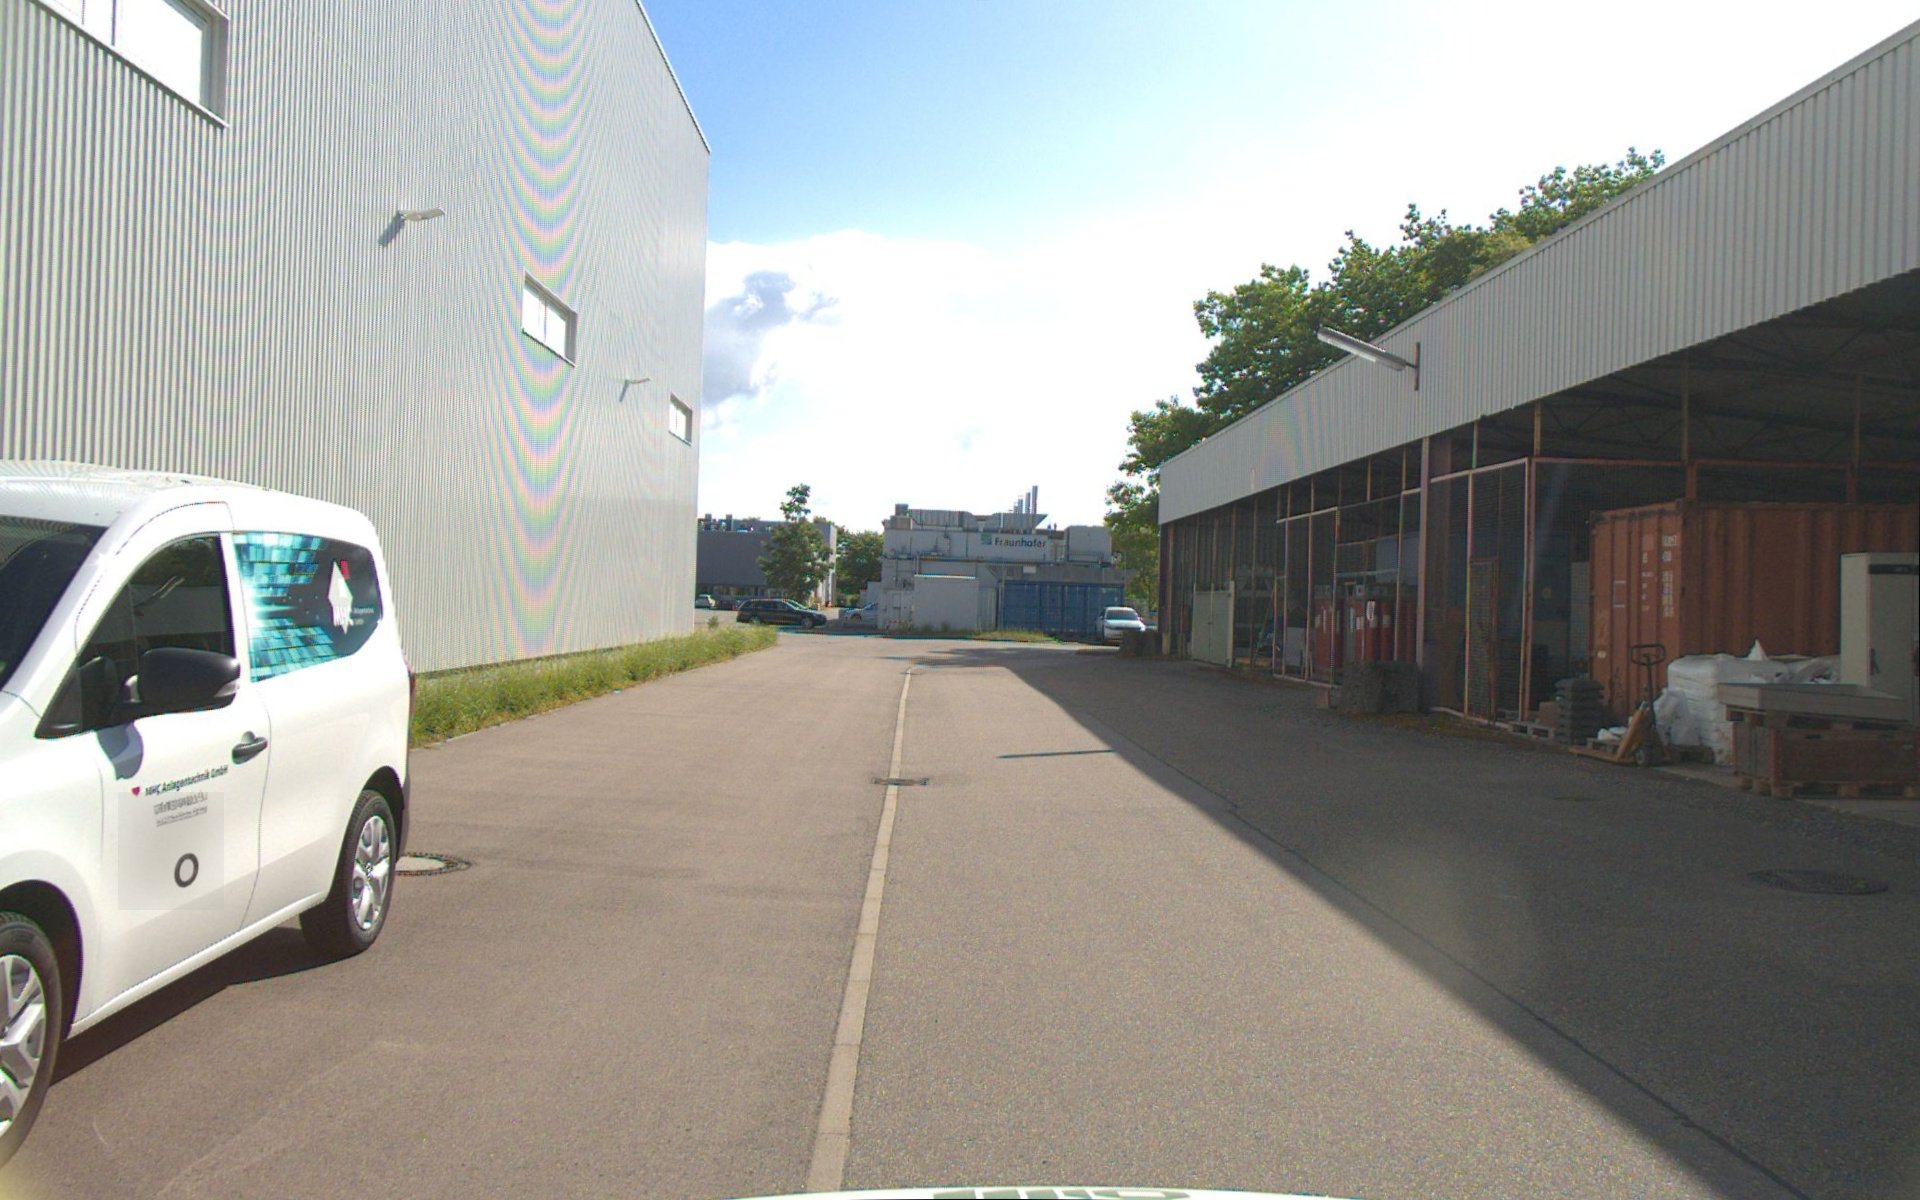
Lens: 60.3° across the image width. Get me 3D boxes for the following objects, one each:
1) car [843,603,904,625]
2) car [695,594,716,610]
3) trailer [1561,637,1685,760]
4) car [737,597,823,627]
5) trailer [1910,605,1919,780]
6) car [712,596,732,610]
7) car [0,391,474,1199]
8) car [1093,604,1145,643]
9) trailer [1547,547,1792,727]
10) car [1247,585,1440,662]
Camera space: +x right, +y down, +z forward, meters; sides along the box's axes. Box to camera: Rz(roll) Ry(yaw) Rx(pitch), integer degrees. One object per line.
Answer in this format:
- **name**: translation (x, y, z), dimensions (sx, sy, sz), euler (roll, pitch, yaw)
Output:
- **car**: translation (-5.992, 0.956, 114.996), dimensions (4.216, 1.483, 1.823), euler (0, -1, -2)
- **car**: translation (-28.218, 0.218, 183.646), dimensions (1.926, 1.742, 4.027), euler (0, -1, -3)
- **trailer**: translation (6.554, 0.950, 16.424), dimensions (0.541, 1.138, 1.546), euler (0, -1, -3)
- **car**: translation (-9.445, 0.645, 87.000), dimensions (4.358, 1.558, 1.823), euler (0, -1, -2)
- **trailer**: translation (9.168, 0.788, 13.391), dimensions (1.996, 1.492, 1.739), euler (0, 0, 2)
- **car**: translation (-26.144, 0.315, 181.870), dimensions (1.821, 1.521, 4.027), euler (0, -1, -3)
- **car**: translation (-3.081, 0.430, 5.222), dimensions (1.747, 1.847, 4.600), euler (3, -1, -2)
- **car**: translation (7.189, 1.039, 75.019), dimensions (1.939, 1.630, 4.377), euler (0, 1, 0)
- **trailer**: translation (9.098, 0.454, 21.448), dimensions (1.882, 2.181, 2.802), euler (0, 0, -3)
- **car**: translation (10.318, 0.641, 44.650), dimensions (4.681, 1.950, 1.995), euler (1, -1, -10)
